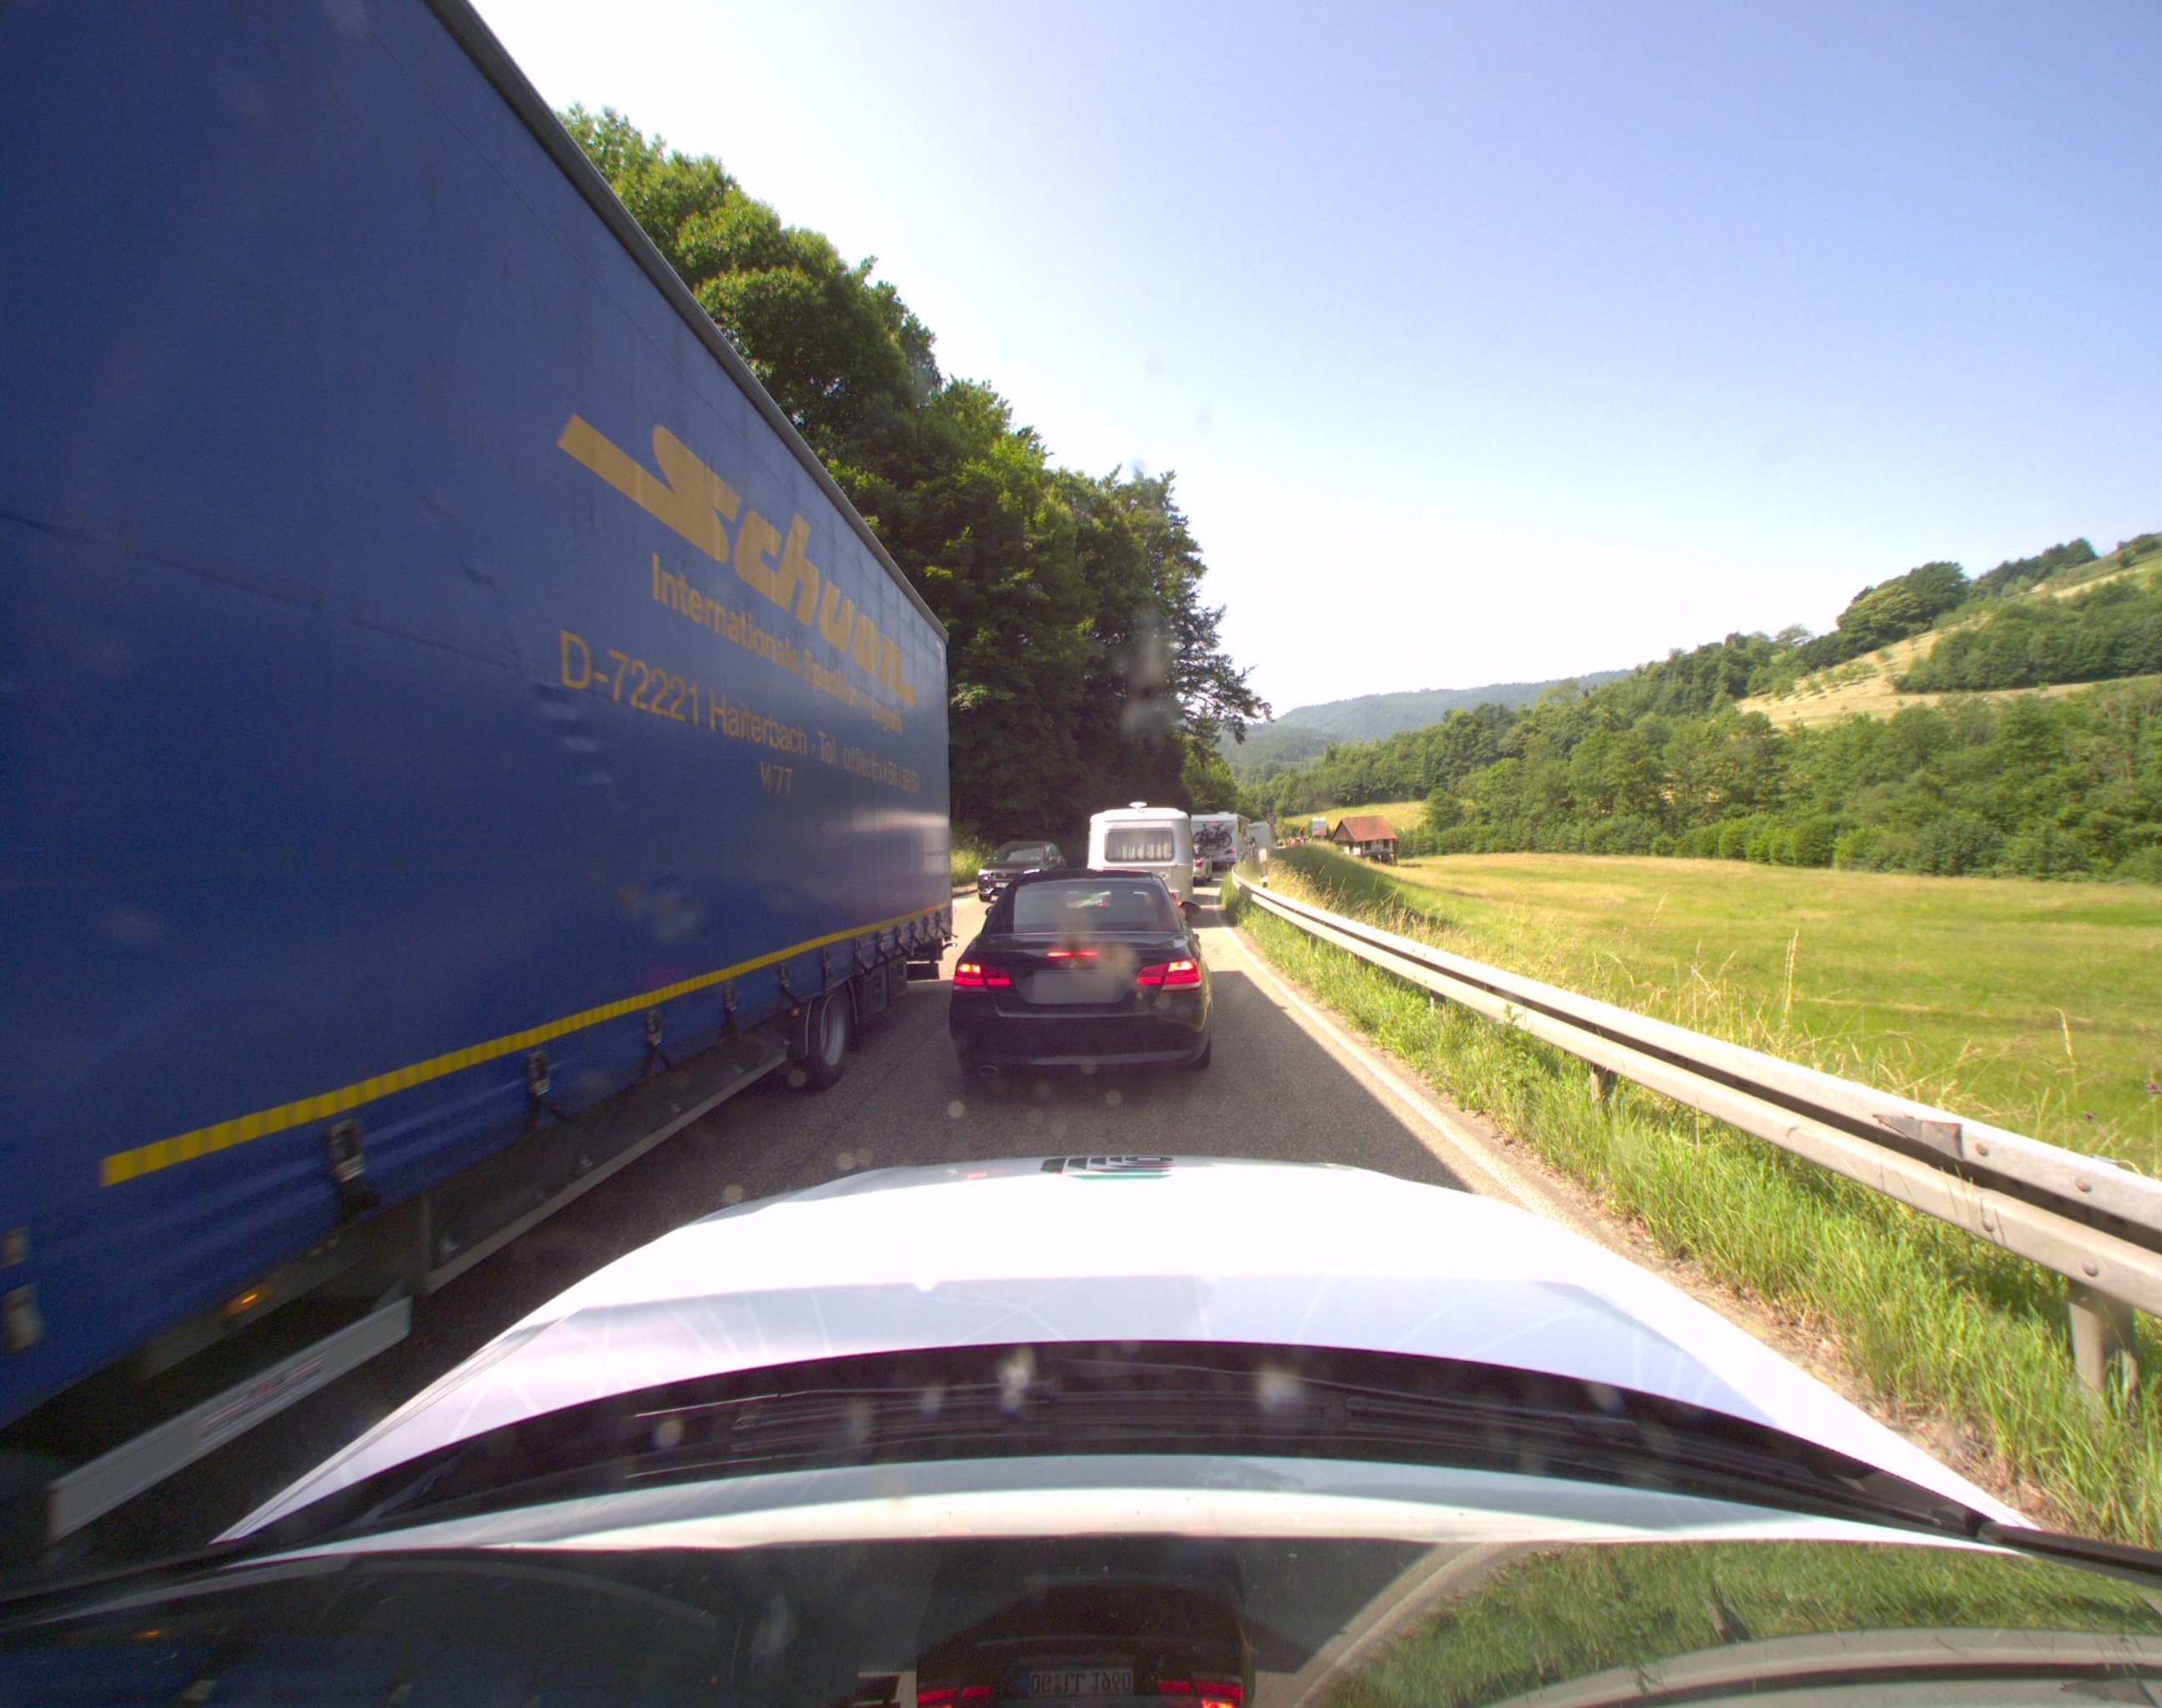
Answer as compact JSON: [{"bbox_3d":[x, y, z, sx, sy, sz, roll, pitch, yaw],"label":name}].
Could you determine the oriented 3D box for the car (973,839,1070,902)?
[{"bbox_3d":[-1.576,0.396,23.077,1.811,1.584,4.094,-1,1,9],"label":"car"}]

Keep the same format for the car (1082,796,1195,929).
[{"bbox_3d":[1.325,0.107,17.014,1.983,2.353,4.924,-1,1,7],"label":"car"}]

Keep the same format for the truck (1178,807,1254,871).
[{"bbox_3d":[7.014,-0.796,41.461,2.768,2.997,6.901,1,2,18],"label":"truck"}]

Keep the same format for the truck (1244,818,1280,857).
[{"bbox_3d":[13.997,-1.215,62.810,2.220,2.804,6.260,-1,0,17],"label":"truck"}]

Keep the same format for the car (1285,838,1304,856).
[{"bbox_3d":[24.699,-0.782,94.259,1.979,1.925,4.016,2,0,15],"label":"car"}]

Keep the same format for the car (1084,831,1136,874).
[{"bbox_3d":[1.427,-0.103,38.010,1.908,1.827,4.501,-2,1,8],"label":"car"}]

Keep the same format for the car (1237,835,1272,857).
[{"bbox_3d":[12.083,-0.572,56.524,1.772,1.464,4.021,1,2,20],"label":"car"}]

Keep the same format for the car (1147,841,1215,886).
[{"bbox_3d":[3.660,0.283,29.269,1.979,1.484,4.015,1,1,13],"label":"car"}]

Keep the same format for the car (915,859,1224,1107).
[{"bbox_3d":[0.080,0.760,6.566,1.763,1.335,3.772,-1,1,5],"label":"car"}]

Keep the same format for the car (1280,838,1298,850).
[{"bbox_3d":[28.536,-1.334,111.541,1.977,1.575,4.020,-1,0,19],"label":"car"}]

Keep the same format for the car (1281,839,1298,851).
[{"bbox_3d":[31.045,-1.356,121.117,1.977,1.684,4.020,0,-1,20],"label":"car"}]

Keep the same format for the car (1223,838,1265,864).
[{"bbox_3d":[10.231,-0.224,50.934,1.977,1.464,4.020,1,2,19],"label":"car"}]

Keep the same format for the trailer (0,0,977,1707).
[{"bbox_3d":[-3.137,-0.700,2.536,3.248,4.417,15.321,-1,1,1],"label":"trailer"}]

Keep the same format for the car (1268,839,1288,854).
[{"bbox_3d":[20.545,-0.747,84.740,1.892,1.486,4.016,0,0,15],"label":"car"}]
